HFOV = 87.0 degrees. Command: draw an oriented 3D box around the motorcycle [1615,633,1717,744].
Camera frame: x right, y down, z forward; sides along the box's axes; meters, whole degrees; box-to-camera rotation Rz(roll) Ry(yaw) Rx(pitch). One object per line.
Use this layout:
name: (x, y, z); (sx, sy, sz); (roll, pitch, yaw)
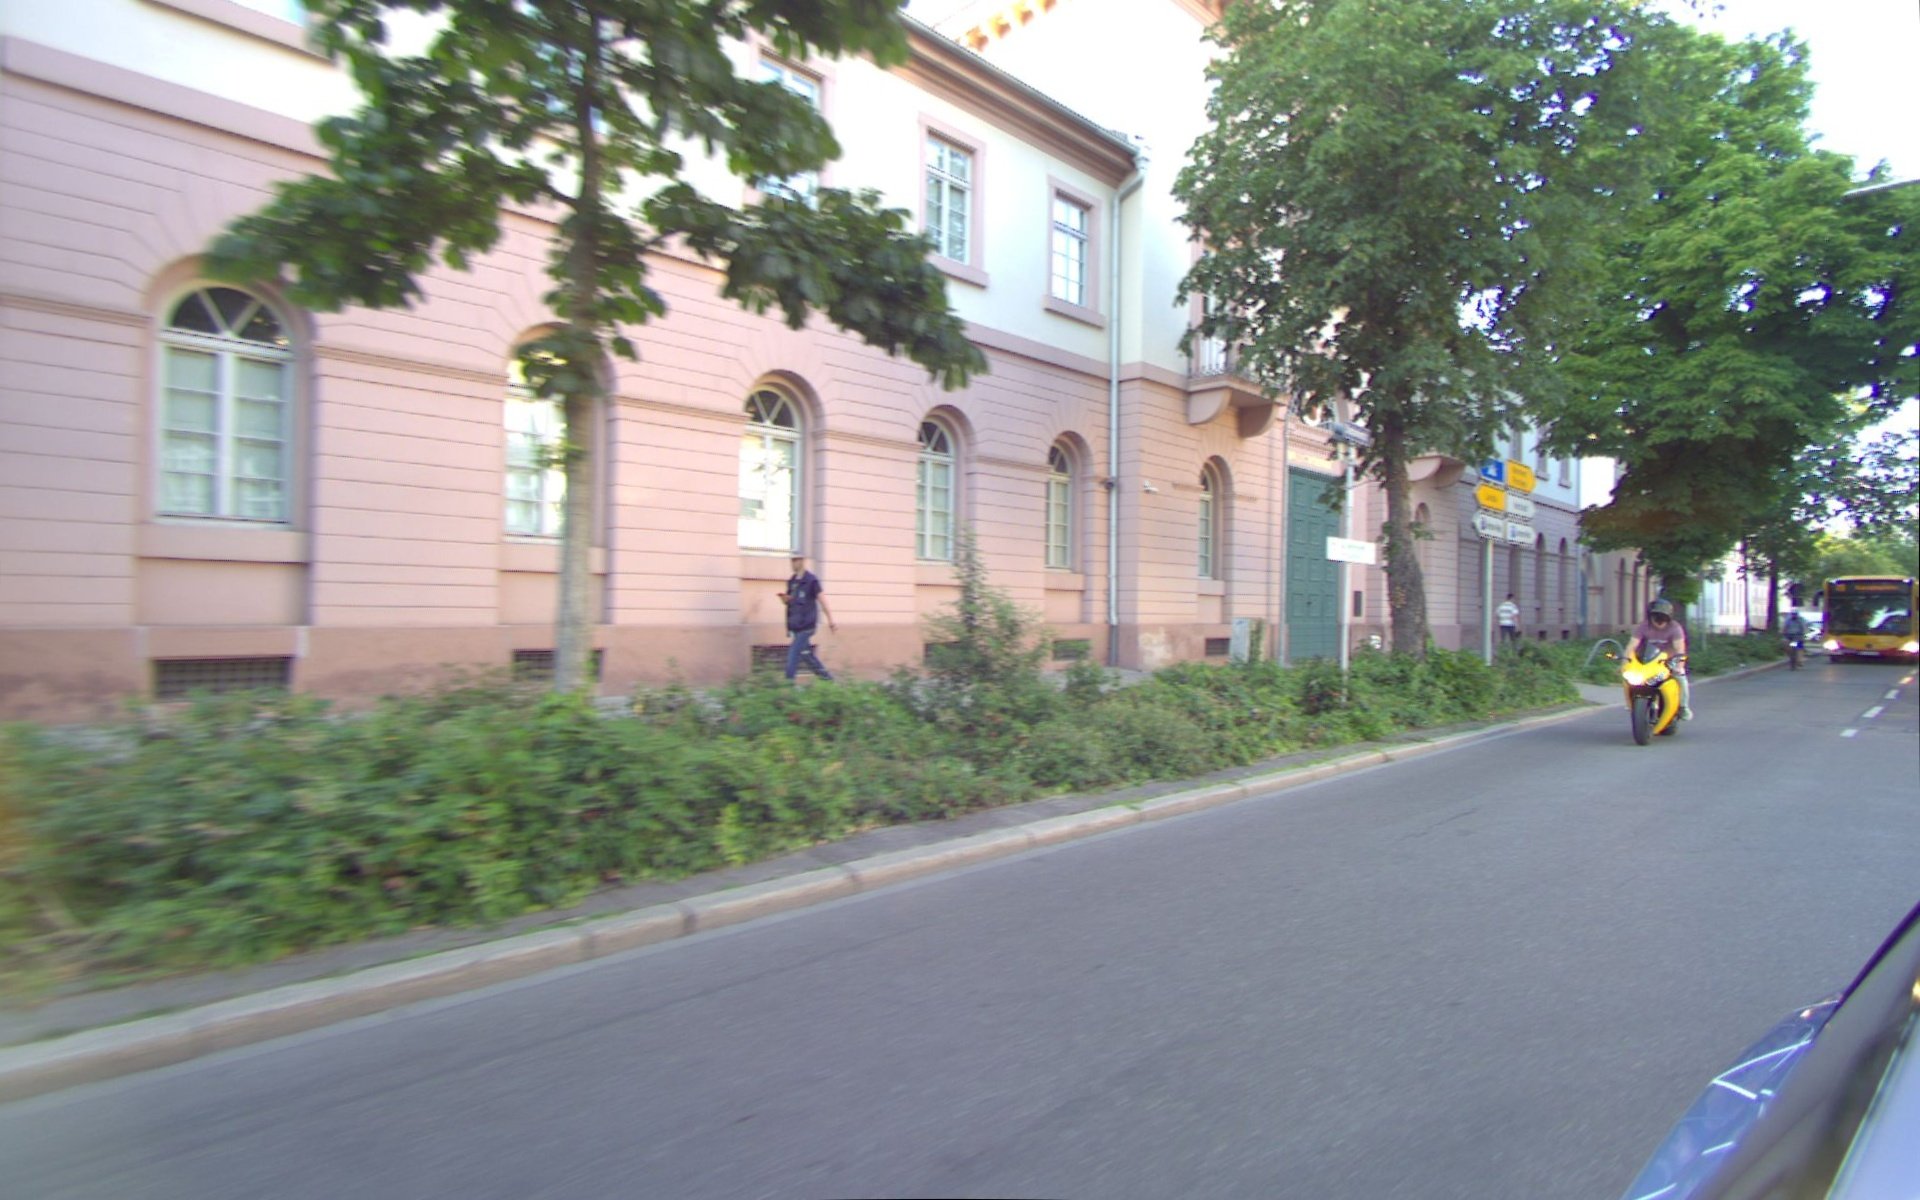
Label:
motorcycle: (8.493, 1.008, 12.140); (0.790, 1.175, 1.937); (-1, -1, 41)

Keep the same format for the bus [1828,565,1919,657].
bus: (35.370, 0.444, 38.366); (11.883, 3.039, 2.705); (1, -2, -45)

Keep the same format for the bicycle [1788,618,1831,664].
bicycle: (26.002, 1.235, 30.968); (2.044, 1.347, 0.781); (1, -2, -45)

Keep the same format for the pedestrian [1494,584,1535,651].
pedestrian: (15.864, 0.495, 28.947); (0.798, 1.855, 0.915); (1, 0, 43)

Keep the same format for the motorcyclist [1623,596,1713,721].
motorcyclist: (8.512, 0.683, 12.175); (0.790, 1.438, 0.688); (-1, -2, 43)

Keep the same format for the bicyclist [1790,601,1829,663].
bicyclist: (25.971, 0.982, 30.940); (0.813, 1.863, 0.781); (1, -2, -45)

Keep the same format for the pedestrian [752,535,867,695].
pedestrian: (-1.857, 0.167, 12.497); (1.064, 1.861, 0.800); (2, 1, -42)
